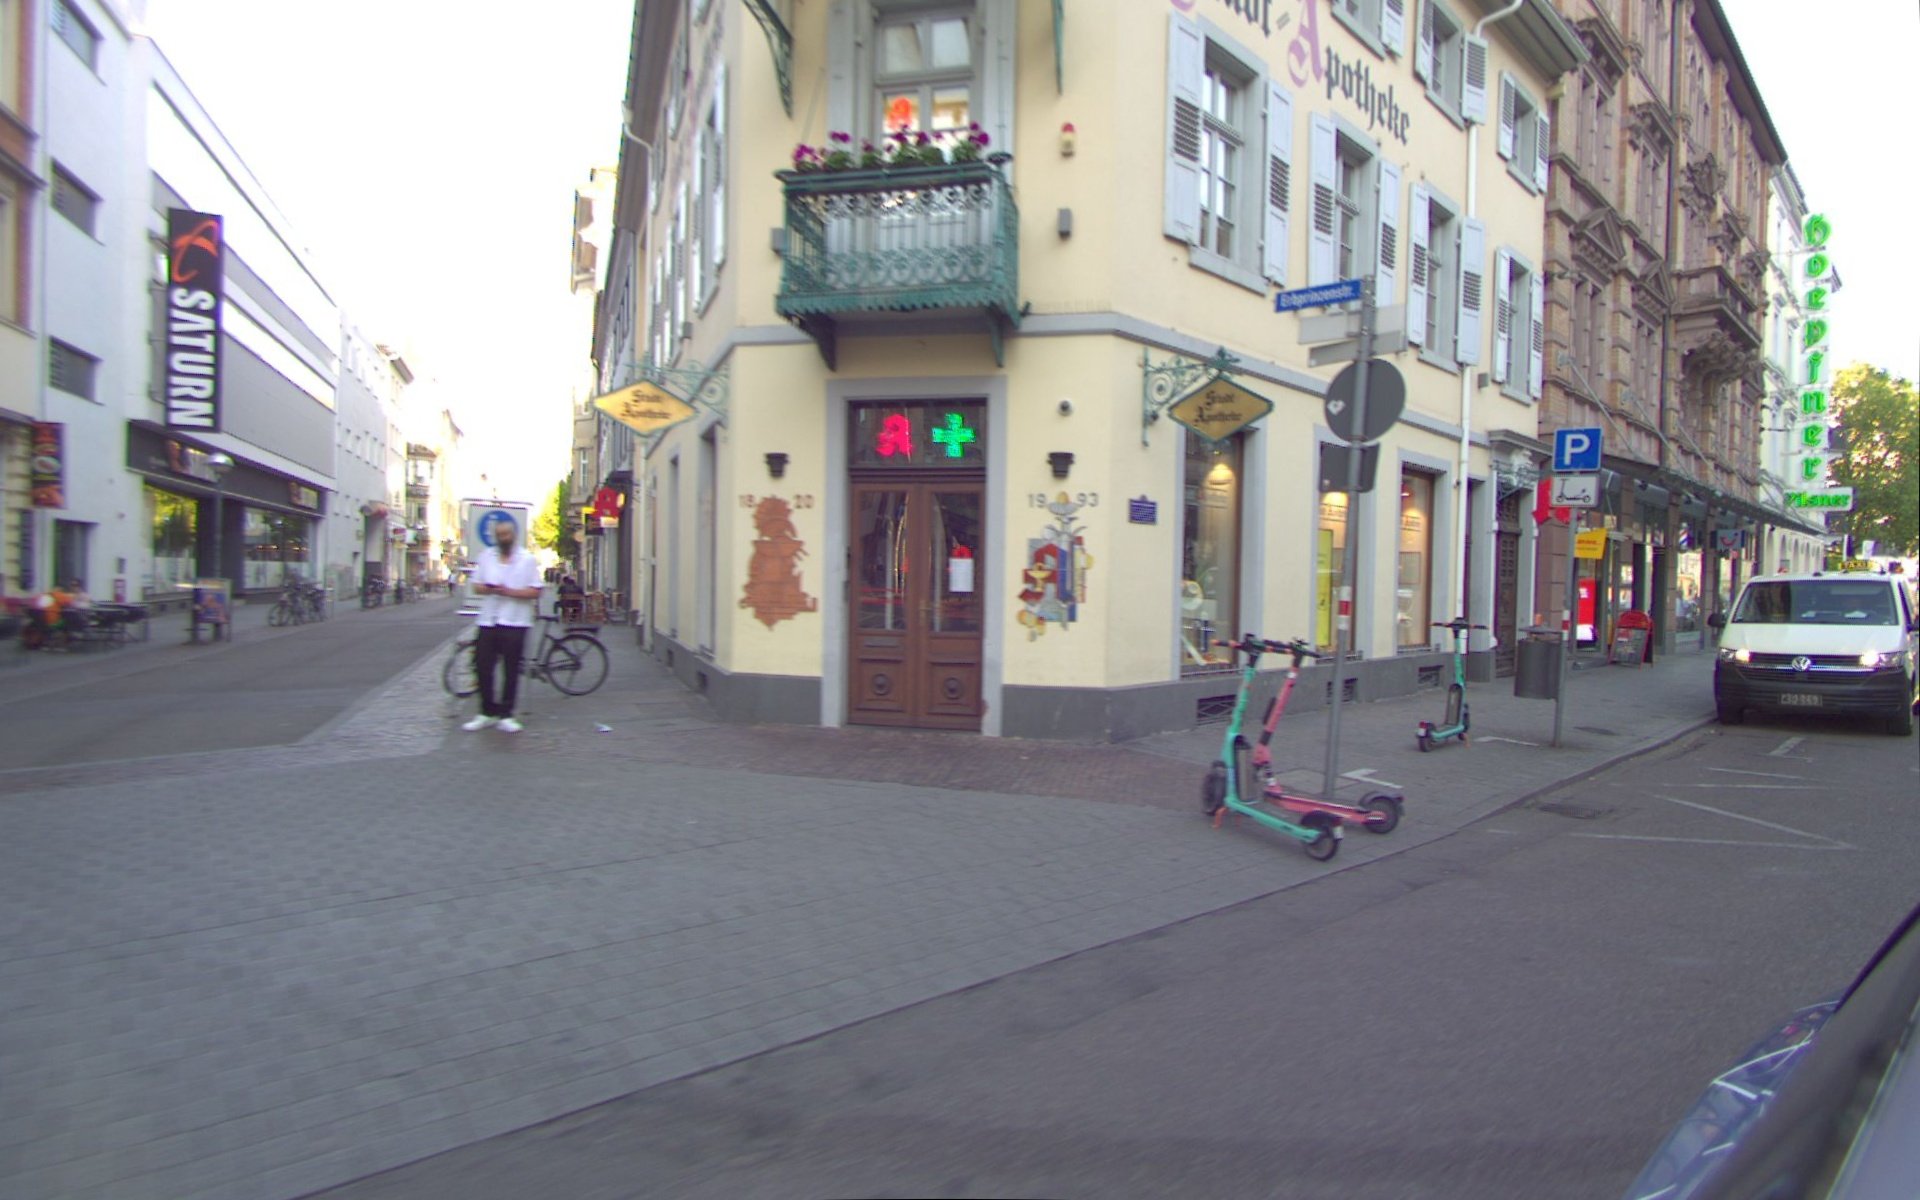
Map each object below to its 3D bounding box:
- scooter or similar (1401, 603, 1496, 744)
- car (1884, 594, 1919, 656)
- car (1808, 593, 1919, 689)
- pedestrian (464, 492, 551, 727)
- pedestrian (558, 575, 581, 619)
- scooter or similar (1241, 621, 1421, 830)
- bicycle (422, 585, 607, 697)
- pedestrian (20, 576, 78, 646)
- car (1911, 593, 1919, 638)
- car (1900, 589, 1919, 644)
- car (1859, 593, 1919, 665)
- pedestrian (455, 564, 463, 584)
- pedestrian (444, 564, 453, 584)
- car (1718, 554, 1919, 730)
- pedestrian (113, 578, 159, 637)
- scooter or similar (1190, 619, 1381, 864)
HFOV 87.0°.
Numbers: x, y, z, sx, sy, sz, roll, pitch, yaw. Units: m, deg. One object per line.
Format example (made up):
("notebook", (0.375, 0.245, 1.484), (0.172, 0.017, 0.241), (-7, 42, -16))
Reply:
("scooter or similar", (4.687, 0.668, 9.683), (1.284, 1.249, 0.272), (-1, 3, -40))
("car", (26.190, 0.614, 27.181), (4.785, 1.530, 1.733), (-1, 0, -44))
("car", (16.420, 0.648, 17.827), (4.699, 1.502, 1.807), (0, -1, -44))
("pedestrian", (-4.071, 0.077, 9.138), (0.631, 2.038, 0.545), (1, 1, -17))
("pedestrian", (-10.404, -0.084, 26.963), (0.553, 1.137, 0.526), (1, 1, -20))
("scooter or similar", (2.390, 0.793, 6.586), (1.033, 1.249, 0.271), (2, 2, 15))
("bicycle", (-4.998, 0.434, 11.469), (1.808, 1.196, 0.773), (0, 0, -13))
("pedestrian", (-15.195, 0.184, 16.898), (0.553, 1.137, 0.526), (1, 1, -20))
("car", (35.123, 0.530, 35.933), (4.616, 1.494, 1.807), (-1, 1, -44))
("car", (30.677, 0.476, 31.407), (4.365, 1.610, 1.735), (-1, 0, -41))
("car", (22.075, 0.608, 23.320), (4.741, 1.495, 1.727), (-1, 1, -44))
("pedestrian", (-28.884, -1.501, 58.355), (0.384, 1.137, 0.415), (1, 1, -20))
("pedestrian", (-29.372, -1.496, 58.126), (0.384, 1.137, 0.415), (1, 1, -20))
("car", (11.665, 0.442, 13.421), (4.623, 1.948, 1.878), (-1, 0, -44))
("pedestrian", (-16.120, 0.145, 19.808), (0.553, 1.137, 0.526), (1, 1, -20))
("scooter or similar", (1.915, 0.782, 6.088), (0.310, 1.249, 1.182), (0, 3, -27))
